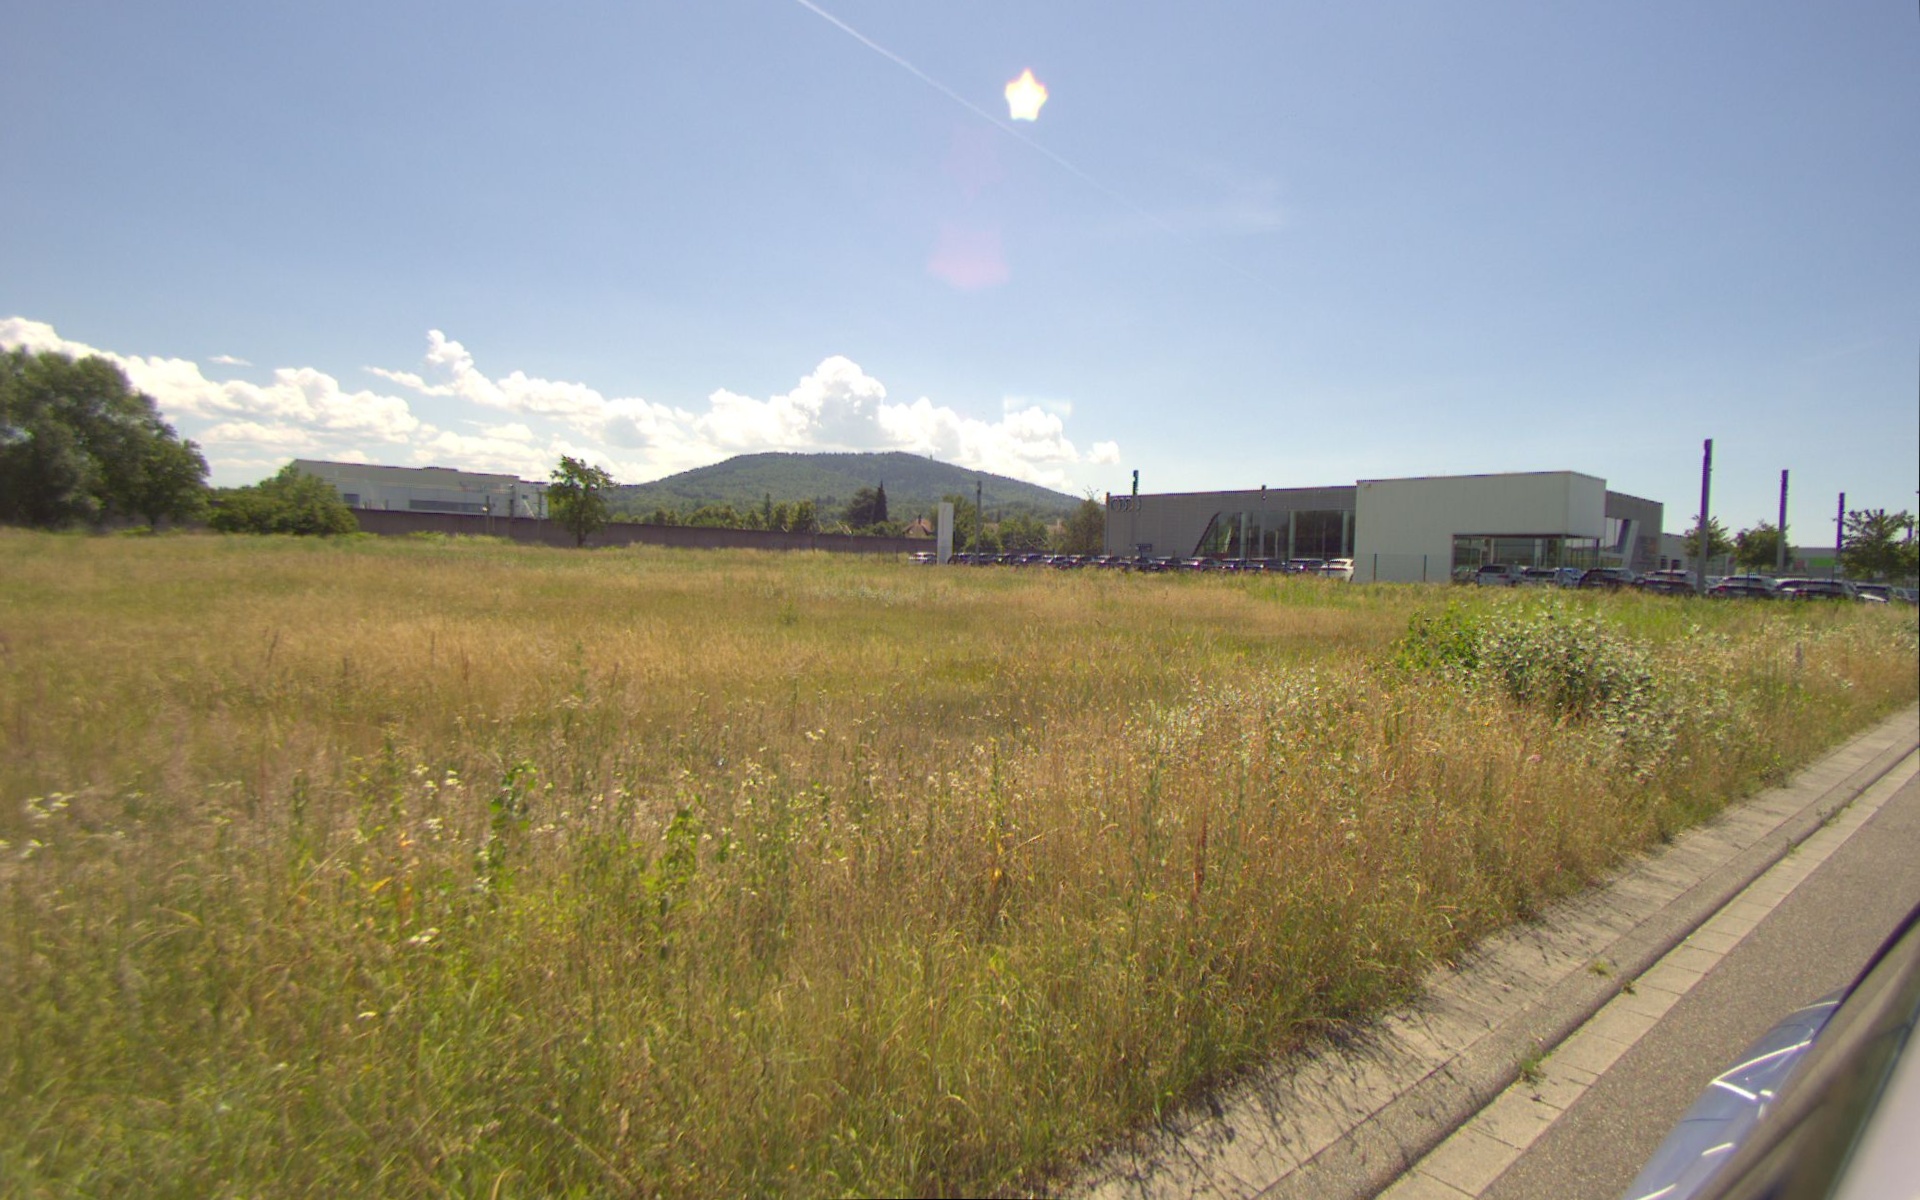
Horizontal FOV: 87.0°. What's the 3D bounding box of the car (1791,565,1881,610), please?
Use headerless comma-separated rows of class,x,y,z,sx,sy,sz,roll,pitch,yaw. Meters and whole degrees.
car,37.597,-0.543,43.383,5.016,1.713,2.030,0,4,-40

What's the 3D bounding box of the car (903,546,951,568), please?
car,-2.983,-3.882,91.439,3.930,1.807,1.998,-1,3,-41

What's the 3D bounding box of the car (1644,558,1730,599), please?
car,34.011,-1.001,47.310,4.723,1.746,2.030,0,4,-40

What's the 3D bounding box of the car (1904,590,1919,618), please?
car,59.090,0.266,61.510,4.900,1.474,1.966,-3,6,-41

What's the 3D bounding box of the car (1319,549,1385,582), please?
car,23.211,-2.030,59.861,3.930,1.807,1.998,-1,3,-41

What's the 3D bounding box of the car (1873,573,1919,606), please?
car,50.399,-0.528,53.788,5.147,1.532,2.030,0,5,-41

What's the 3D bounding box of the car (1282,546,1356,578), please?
car,22.056,-2.304,62.107,4.723,1.746,2.030,0,4,-40

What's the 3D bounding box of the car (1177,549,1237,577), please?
car,16.599,-2.465,68.001,3.930,1.807,1.998,-1,3,-41

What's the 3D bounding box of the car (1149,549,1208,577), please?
car,15.085,-2.556,69.854,3.930,1.807,1.998,-1,3,-41

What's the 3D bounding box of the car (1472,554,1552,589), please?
car,29.305,-1.521,53.644,4.723,1.674,2.030,0,4,-40

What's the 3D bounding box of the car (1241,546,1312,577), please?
car,20.093,-2.423,64.197,4.723,1.746,2.030,0,4,-40

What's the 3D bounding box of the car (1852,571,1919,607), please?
car,46.311,-0.548,50.486,4.695,1.592,2.030,0,4,-41

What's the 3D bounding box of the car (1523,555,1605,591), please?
car,30.847,-1.374,51.624,4.723,1.674,2.030,0,4,-40

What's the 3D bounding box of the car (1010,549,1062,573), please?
car,6.104,-3.138,81.013,3.930,1.807,1.998,-1,3,-41

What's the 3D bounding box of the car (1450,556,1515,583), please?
car,33.196,-1.929,64.224,4.695,1.609,2.029,-1,3,-41

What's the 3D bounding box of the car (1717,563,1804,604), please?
car,35.871,-0.733,45.295,4.723,1.630,2.030,0,4,-40

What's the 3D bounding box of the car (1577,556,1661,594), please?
car,32.282,-1.217,49.548,4.723,1.700,2.030,0,4,-40

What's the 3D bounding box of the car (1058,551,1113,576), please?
car,9.544,-2.750,76.662,3.930,1.807,1.998,-1,3,-41

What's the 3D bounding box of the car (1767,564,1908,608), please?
car,40.203,-0.653,46.473,1.995,1.713,4.541,0,4,-39

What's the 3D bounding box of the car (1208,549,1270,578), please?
car,18.211,-2.384,65.961,3.930,1.807,1.998,-1,3,-41
